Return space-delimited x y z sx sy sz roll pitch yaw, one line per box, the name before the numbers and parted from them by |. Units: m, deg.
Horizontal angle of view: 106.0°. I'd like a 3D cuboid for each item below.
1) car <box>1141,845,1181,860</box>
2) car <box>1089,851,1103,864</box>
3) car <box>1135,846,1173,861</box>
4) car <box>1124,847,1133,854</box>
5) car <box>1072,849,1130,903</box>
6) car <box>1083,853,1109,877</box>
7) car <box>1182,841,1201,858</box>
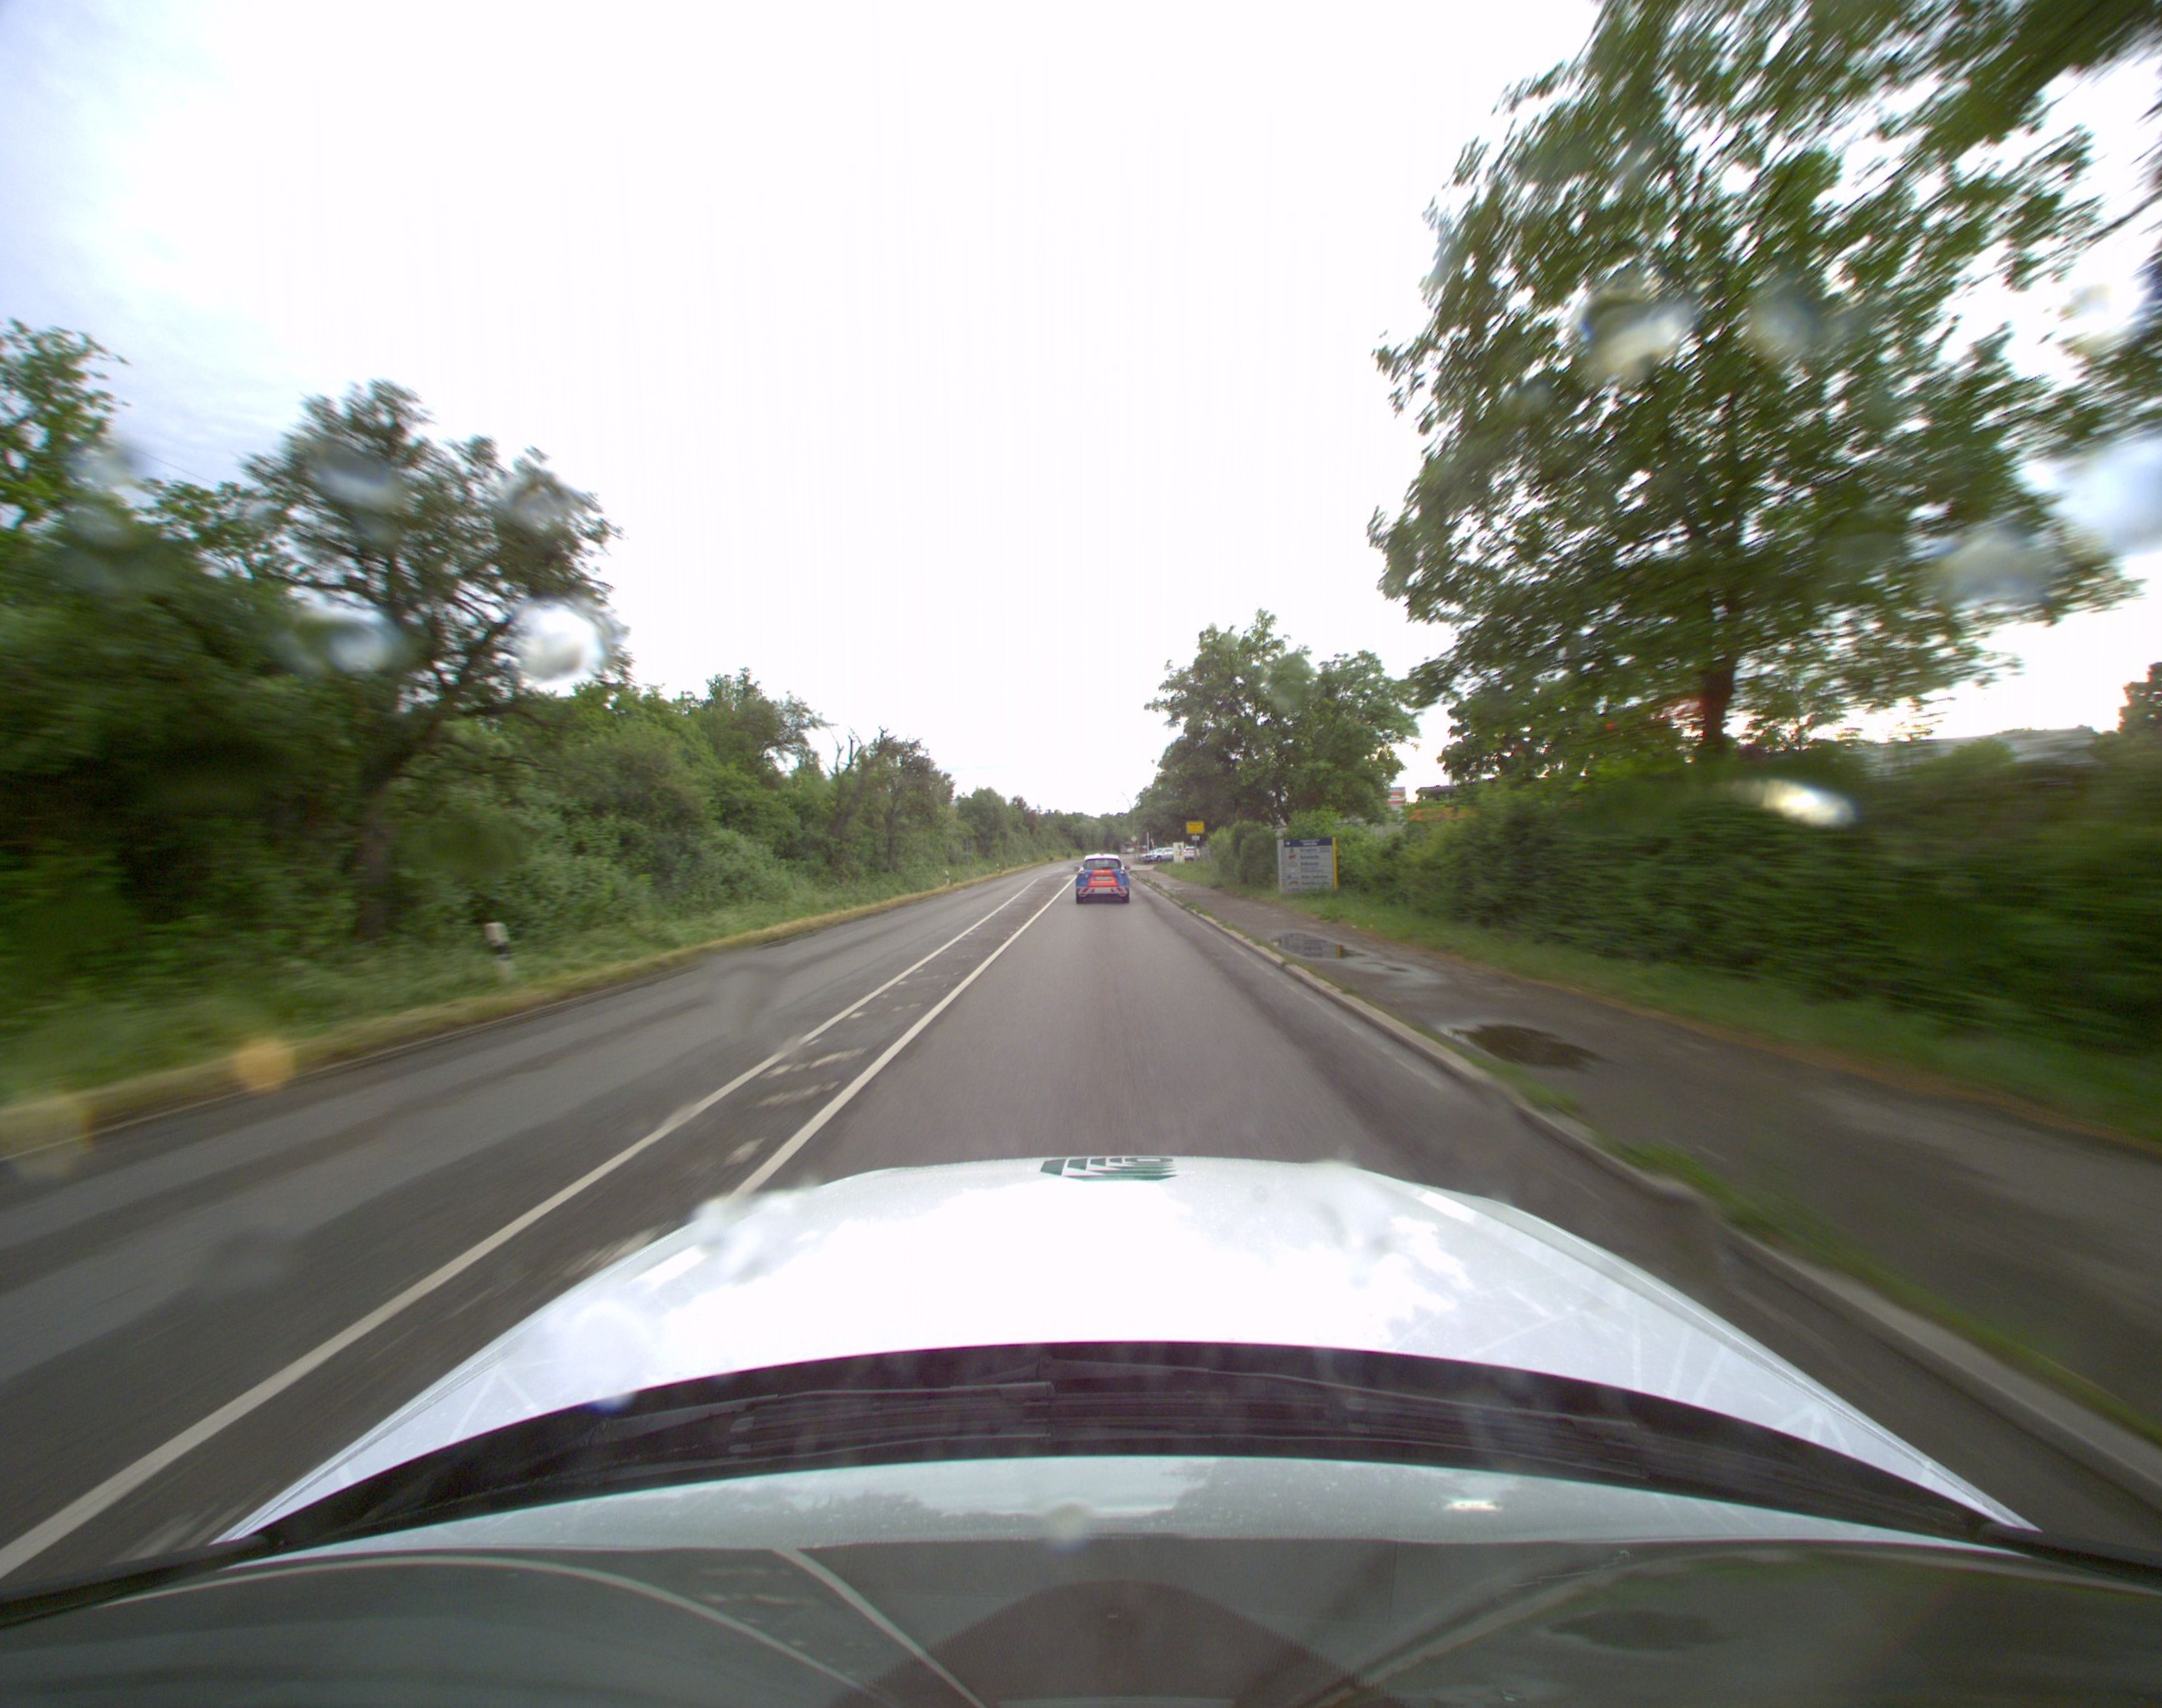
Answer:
car | 9.340 -0.184 94.959 4.645 1.751 2.010 0 -1 -44
car | 2.045 0.486 109.383 1.686 1.790 3.861 0 0 5
car | 8.799 -0.044 97.973 4.645 1.751 2.010 0 -2 -44
car | 12.188 -0.951 208.791 1.682 1.790 3.870 -1 0 14
car | 0.662 0.686 27.286 1.799 1.668 3.856 0 0 1
car | 1.029 0.758 55.987 1.688 1.595 3.856 0 0 0
car | 12.420 -0.479 91.884 1.818 1.829 4.268 0 0 4
